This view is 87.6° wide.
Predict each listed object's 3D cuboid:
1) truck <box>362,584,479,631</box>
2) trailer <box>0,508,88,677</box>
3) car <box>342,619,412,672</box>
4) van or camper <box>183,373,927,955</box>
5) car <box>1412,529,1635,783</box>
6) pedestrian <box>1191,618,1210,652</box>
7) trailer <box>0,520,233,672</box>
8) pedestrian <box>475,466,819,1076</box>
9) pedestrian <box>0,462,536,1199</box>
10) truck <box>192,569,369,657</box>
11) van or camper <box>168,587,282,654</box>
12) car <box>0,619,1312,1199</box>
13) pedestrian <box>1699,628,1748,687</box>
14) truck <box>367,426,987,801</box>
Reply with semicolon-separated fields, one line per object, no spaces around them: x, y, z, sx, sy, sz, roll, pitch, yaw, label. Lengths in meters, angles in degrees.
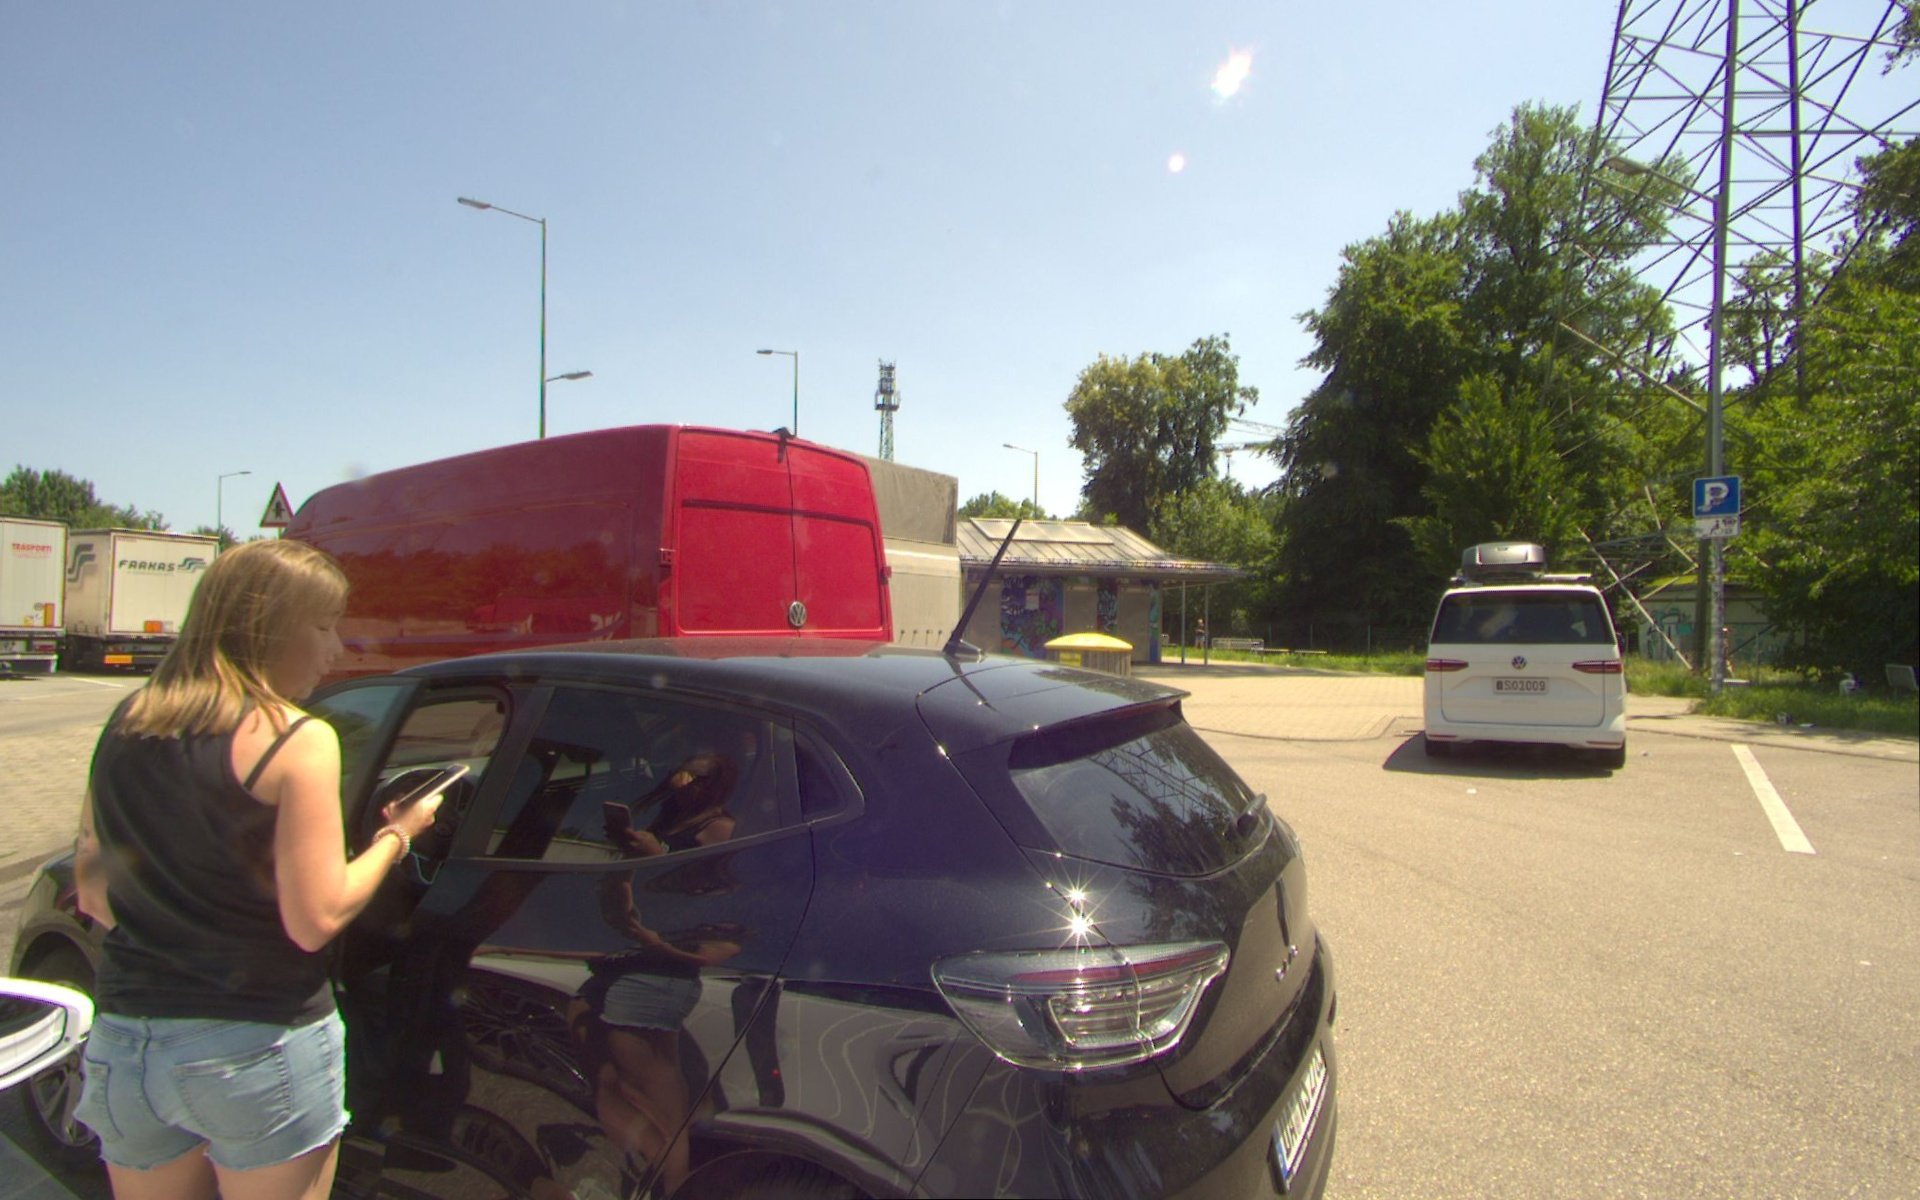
-34.723;0.463;64.266;9.637;2.857;2.121;0;-1;33;truck
-28.358;-0.331;27.786;12.255;4.090;2.862;2;-1;33;trailer
-18.874;1.433;32.544;1.821;1.582;3.930;1;-1;-29;car
-3.370;0.323;7.339;6.394;2.688;1.990;0;-1;36;van or camper
6.536;0.567;11.544;1.892;2.354;4.074;-1;-1;32;car
11.063;1.624;46.065;0.579;1.536;0.591;1;0;-21;pedestrian
-27.297;-0.201;31.451;12.255;4.090;2.862;2;-1;33;trailer
-1.122;0.539;3.669;0.902;1.896;0.771;1;0;27;pedestrian
-1.192;0.647;1.624;0.644;1.606;0.646;1;0;26;pedestrian
-31.695;0.504;46.464;11.255;3.615;2.484;2;-1;33;truck
-30.414;0.818;41.373;5.296;2.595;2.100;0;-1;34;van or camper
-1.064;0.834;2.831;3.706;1.503;1.615;0;-1;27;car
18.304;1.369;24.006;0.695;1.392;0.607;1;0;-2;pedestrian
-3.265;0.132;10.545;6.874;2.828;2.460;0;-1;35;truck
